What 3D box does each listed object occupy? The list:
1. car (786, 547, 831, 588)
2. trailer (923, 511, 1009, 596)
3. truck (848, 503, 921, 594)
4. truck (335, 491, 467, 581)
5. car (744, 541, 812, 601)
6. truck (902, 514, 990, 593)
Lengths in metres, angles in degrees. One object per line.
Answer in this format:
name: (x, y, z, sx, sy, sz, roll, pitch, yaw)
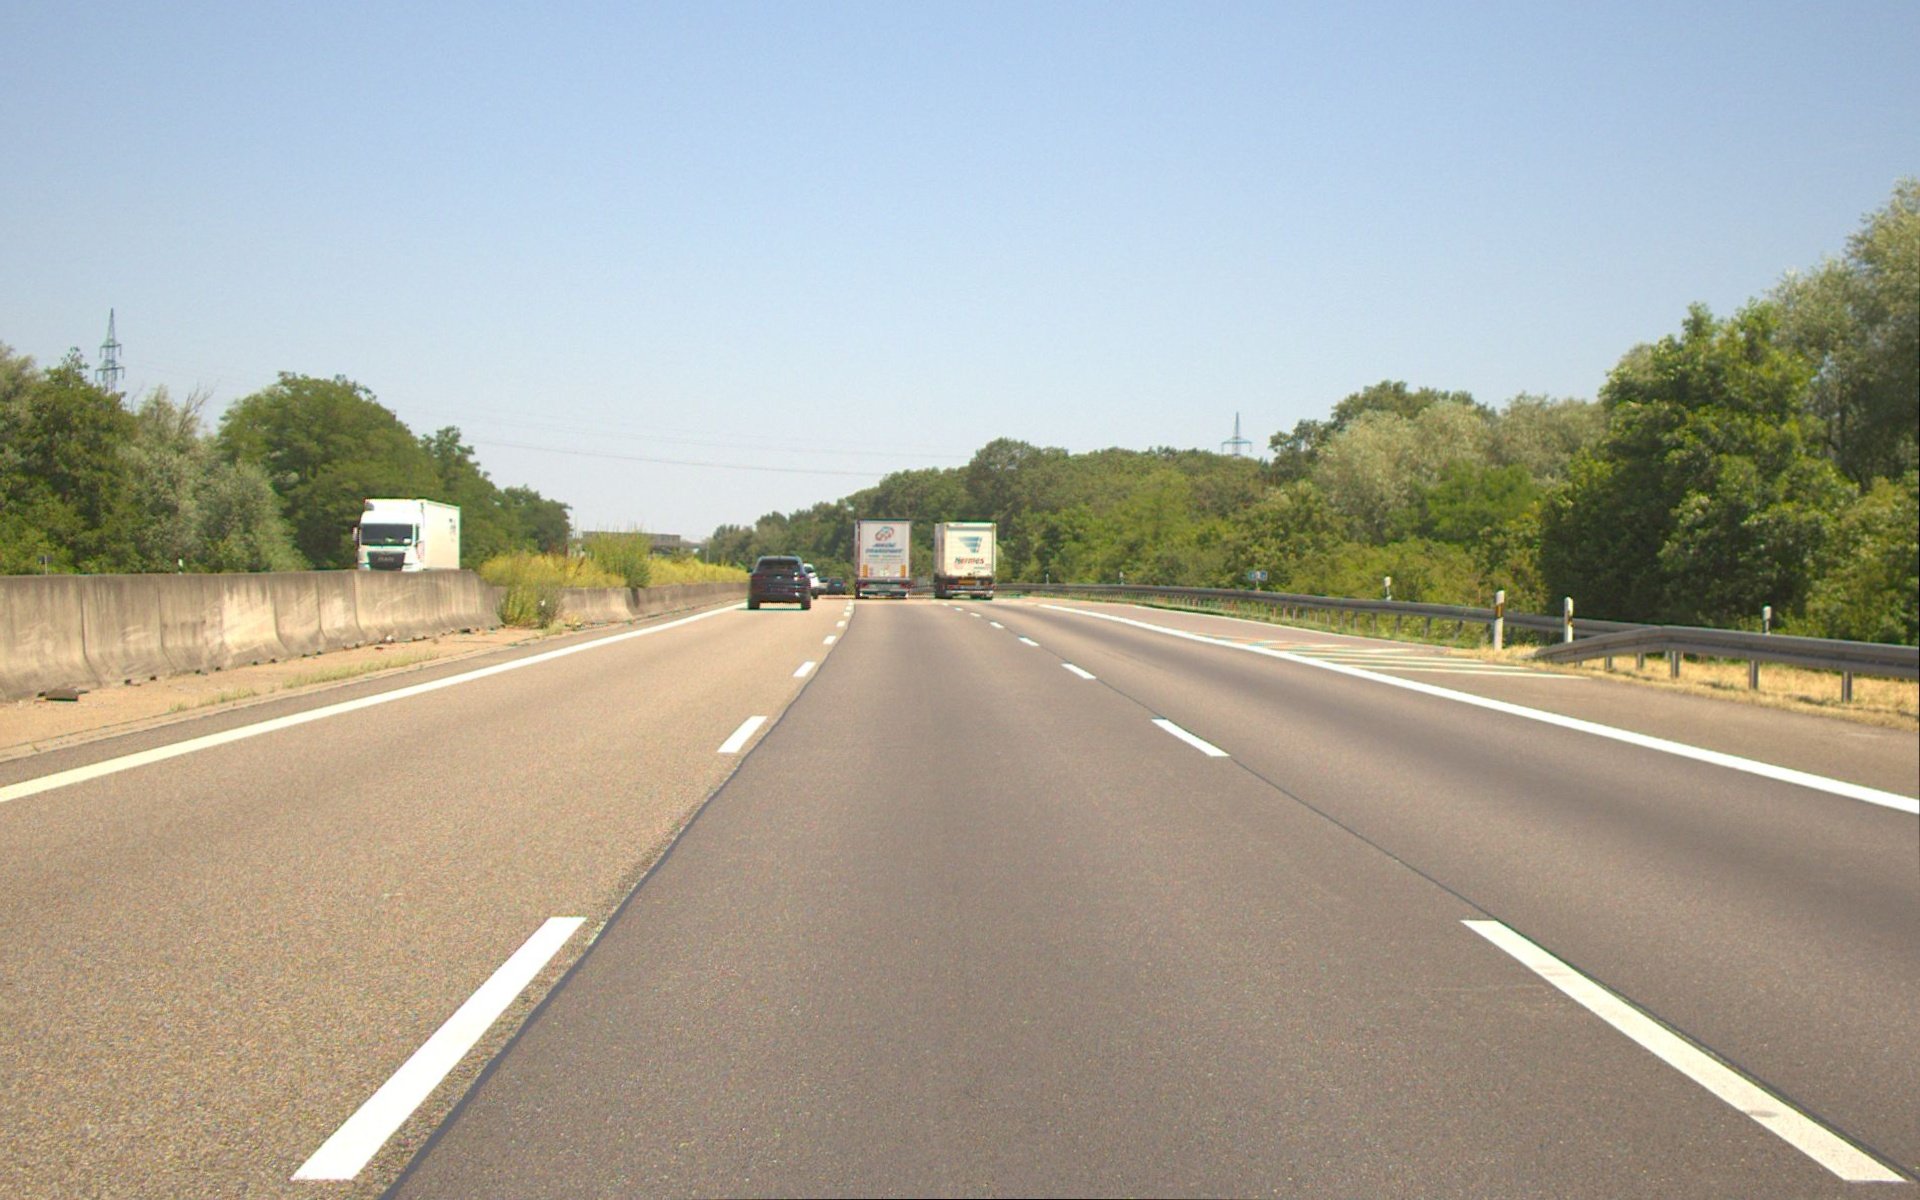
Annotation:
car: (-7.138, -1.535, 161.737, 1.993, 1.868, 4.001, 2, 1, -4)
trailer: (0.246, -2.355, 174.605, 3.367, 4.128, 9.093, 1, 1, -6)
truck: (-3.744, -2.528, 168.738, 3.229, 4.187, 8.467, 3, 1, -2)
truck: (-24.673, -2.773, 152.673, 3.598, 3.722, 17.487, 1, 1, -2)
car: (-5.817, -0.938, 110.459, 1.993, 1.868, 4.000, 1, 1, -1)
truck: (-0.801, -2.471, 183.784, 3.325, 4.039, 10.956, 1, 1, -7)
